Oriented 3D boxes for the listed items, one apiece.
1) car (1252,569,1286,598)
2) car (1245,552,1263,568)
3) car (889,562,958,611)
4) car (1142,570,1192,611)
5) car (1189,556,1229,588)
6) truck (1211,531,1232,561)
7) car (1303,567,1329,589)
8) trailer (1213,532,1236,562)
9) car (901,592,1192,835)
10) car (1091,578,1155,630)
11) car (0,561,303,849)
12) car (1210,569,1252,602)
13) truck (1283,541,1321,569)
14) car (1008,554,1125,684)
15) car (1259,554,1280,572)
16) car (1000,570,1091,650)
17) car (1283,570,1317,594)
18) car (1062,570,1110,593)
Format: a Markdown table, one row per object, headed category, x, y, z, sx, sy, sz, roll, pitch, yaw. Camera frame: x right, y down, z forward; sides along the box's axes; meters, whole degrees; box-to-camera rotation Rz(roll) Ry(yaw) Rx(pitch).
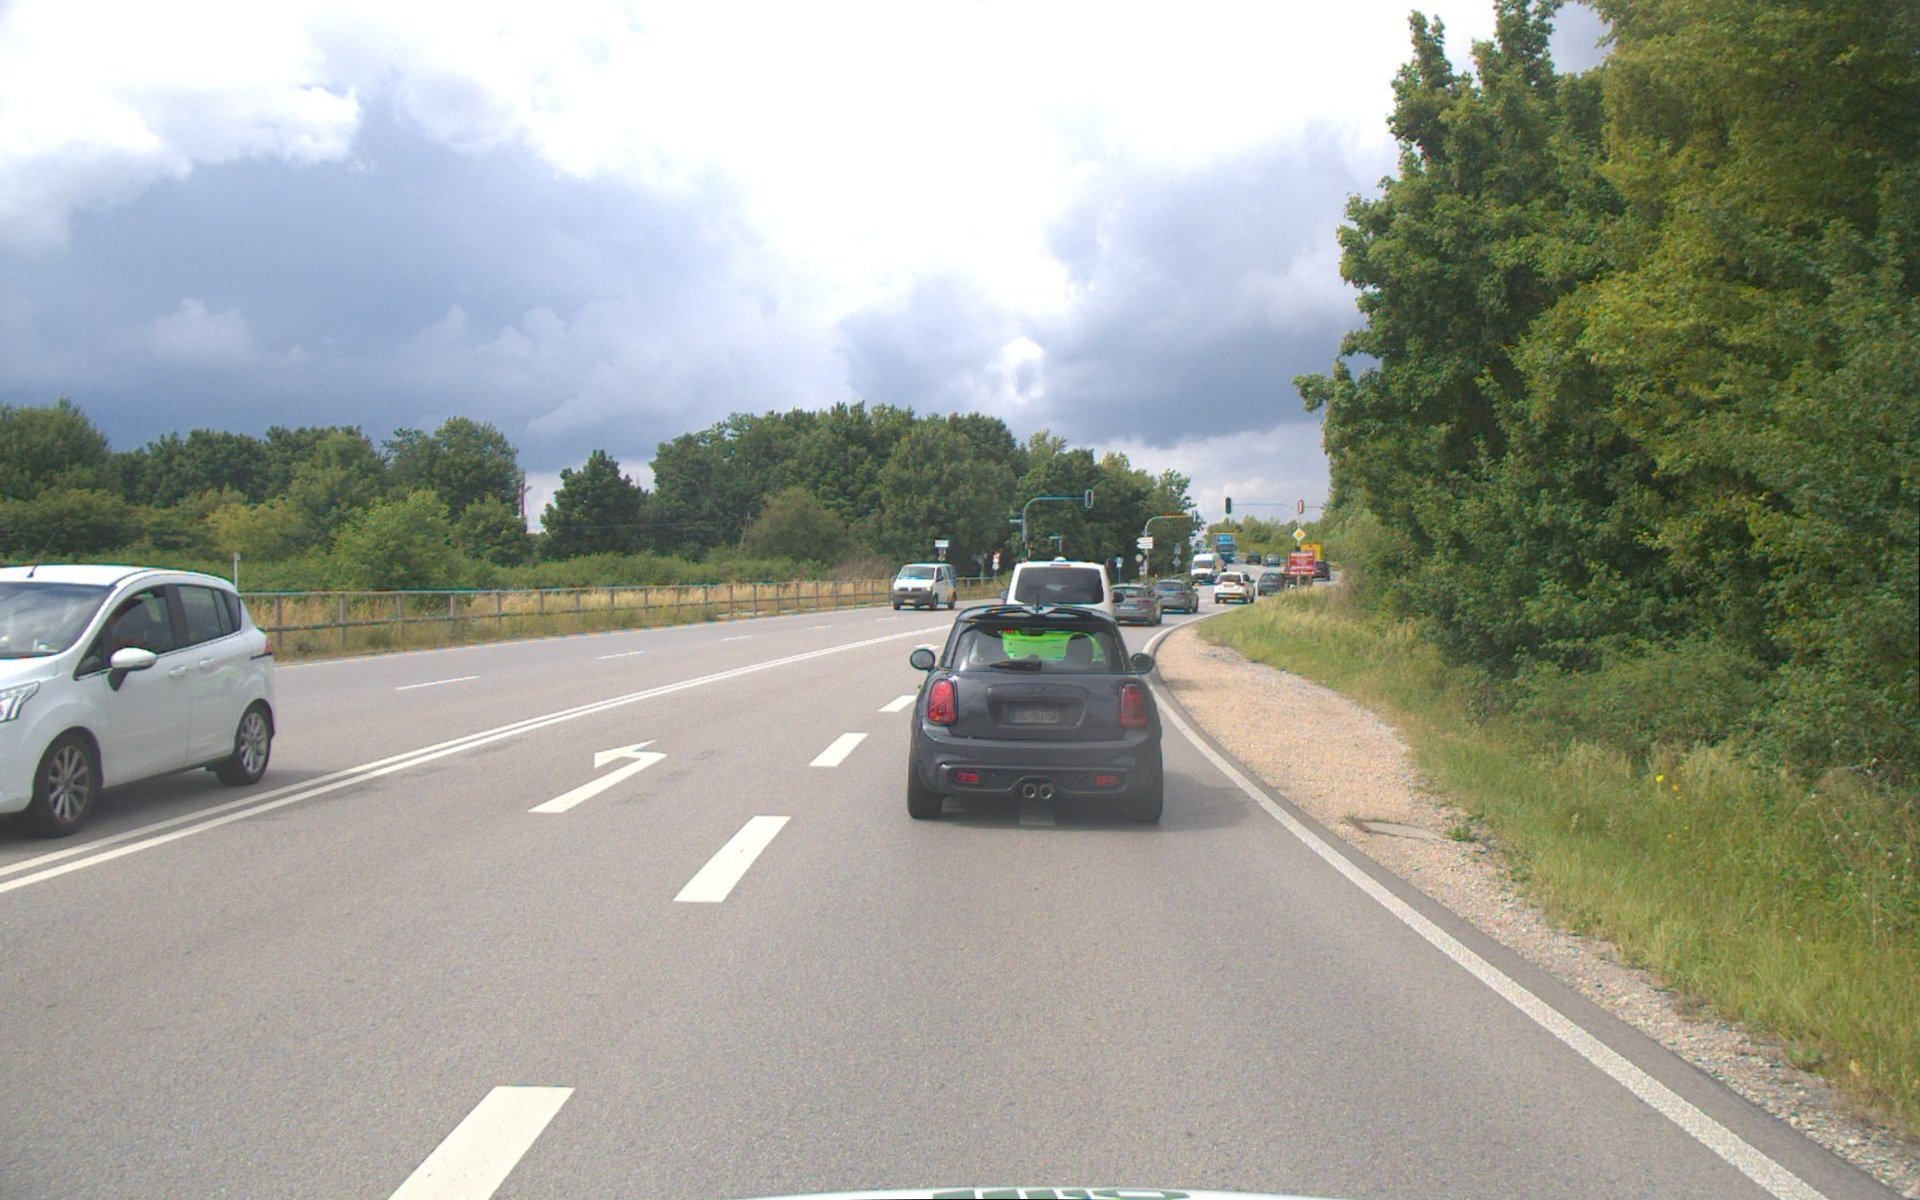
| category | x | y | z | sx | sy | sz | roll | pitch | yaw |
| --- | --- | --- | --- | --- | --- | --- | --- | --- | --- |
| car | 19.787 | -1.045 | 105.681 | 1.951 | 1.713 | 4.003 | 2 | 0 | 13 |
| car | 40.726 | -5.511 | 229.048 | 1.952 | 2.049 | 4.001 | 1 | 0 | 2 |
| car | -1.537 | -0.580 | 71.980 | 1.951 | 2.049 | 4.671 | 1 | 1 | 12 |
| car | 9.196 | -0.393 | 73.206 | 1.951 | 1.713 | 3.980 | 2 | 0 | 10 |
| car | 21.790 | -2.464 | 144.584 | 2.382 | 2.721 | 6.892 | 1 | 1 | 17 |
| truck | 36.754 | -7.530 | 232.188 | 2.486 | 4.167 | 4.003 | 1 | 1 | 16 |
| car | 30.044 | -1.828 | 139.631 | 1.951 | 1.725 | 4.489 | 2 | 0 | 14 |
| trailer | 37.671 | -7.579 | 235.485 | 2.474 | 4.172 | 6.740 | 1 | 1 | 15 |
| car | 0.612 | 0.703 | 12.340 | 1.806 | 1.453 | 3.842 | 1 | 1 | 2 |
| car | 5.694 | 0.139 | 58.099 | 1.952 | 1.713 | 4.001 | 2 | 0 | 2 |
| car | -5.960 | 0.546 | 10.864 | 1.695 | 1.544 | 4.000 | 0 | 0 | 0 |
| car | 14.776 | -0.772 | 90.149 | 1.951 | 1.713 | 4.003 | 2 | 0 | 13 |
| truck | 36.748 | -4.850 | 178.149 | 2.660 | 2.948 | 8.775 | 0 | 1 | 3 |
| car | 1.763 | 0.278 | 27.985 | 1.806 | 2.021 | 3.842 | 1 | 1 | 3 |
| car | 39.367 | -4.689 | 210.473 | 2.135 | 2.049 | 4.002 | 1 | 0 | 3 |
| car | 1.970 | 0.229 | 37.985 | 1.952 | 1.713 | 4.001 | 1 | 0 | 3 |
| car | 24.802 | -1.332 | 120.661 | 1.952 | 1.725 | 4.488 | 1 | 1 | 17 |
| car | 8.050 | -1.190 | 105.656 | 1.772 | 1.467 | 4.352 | 1 | 1 | 23 |
